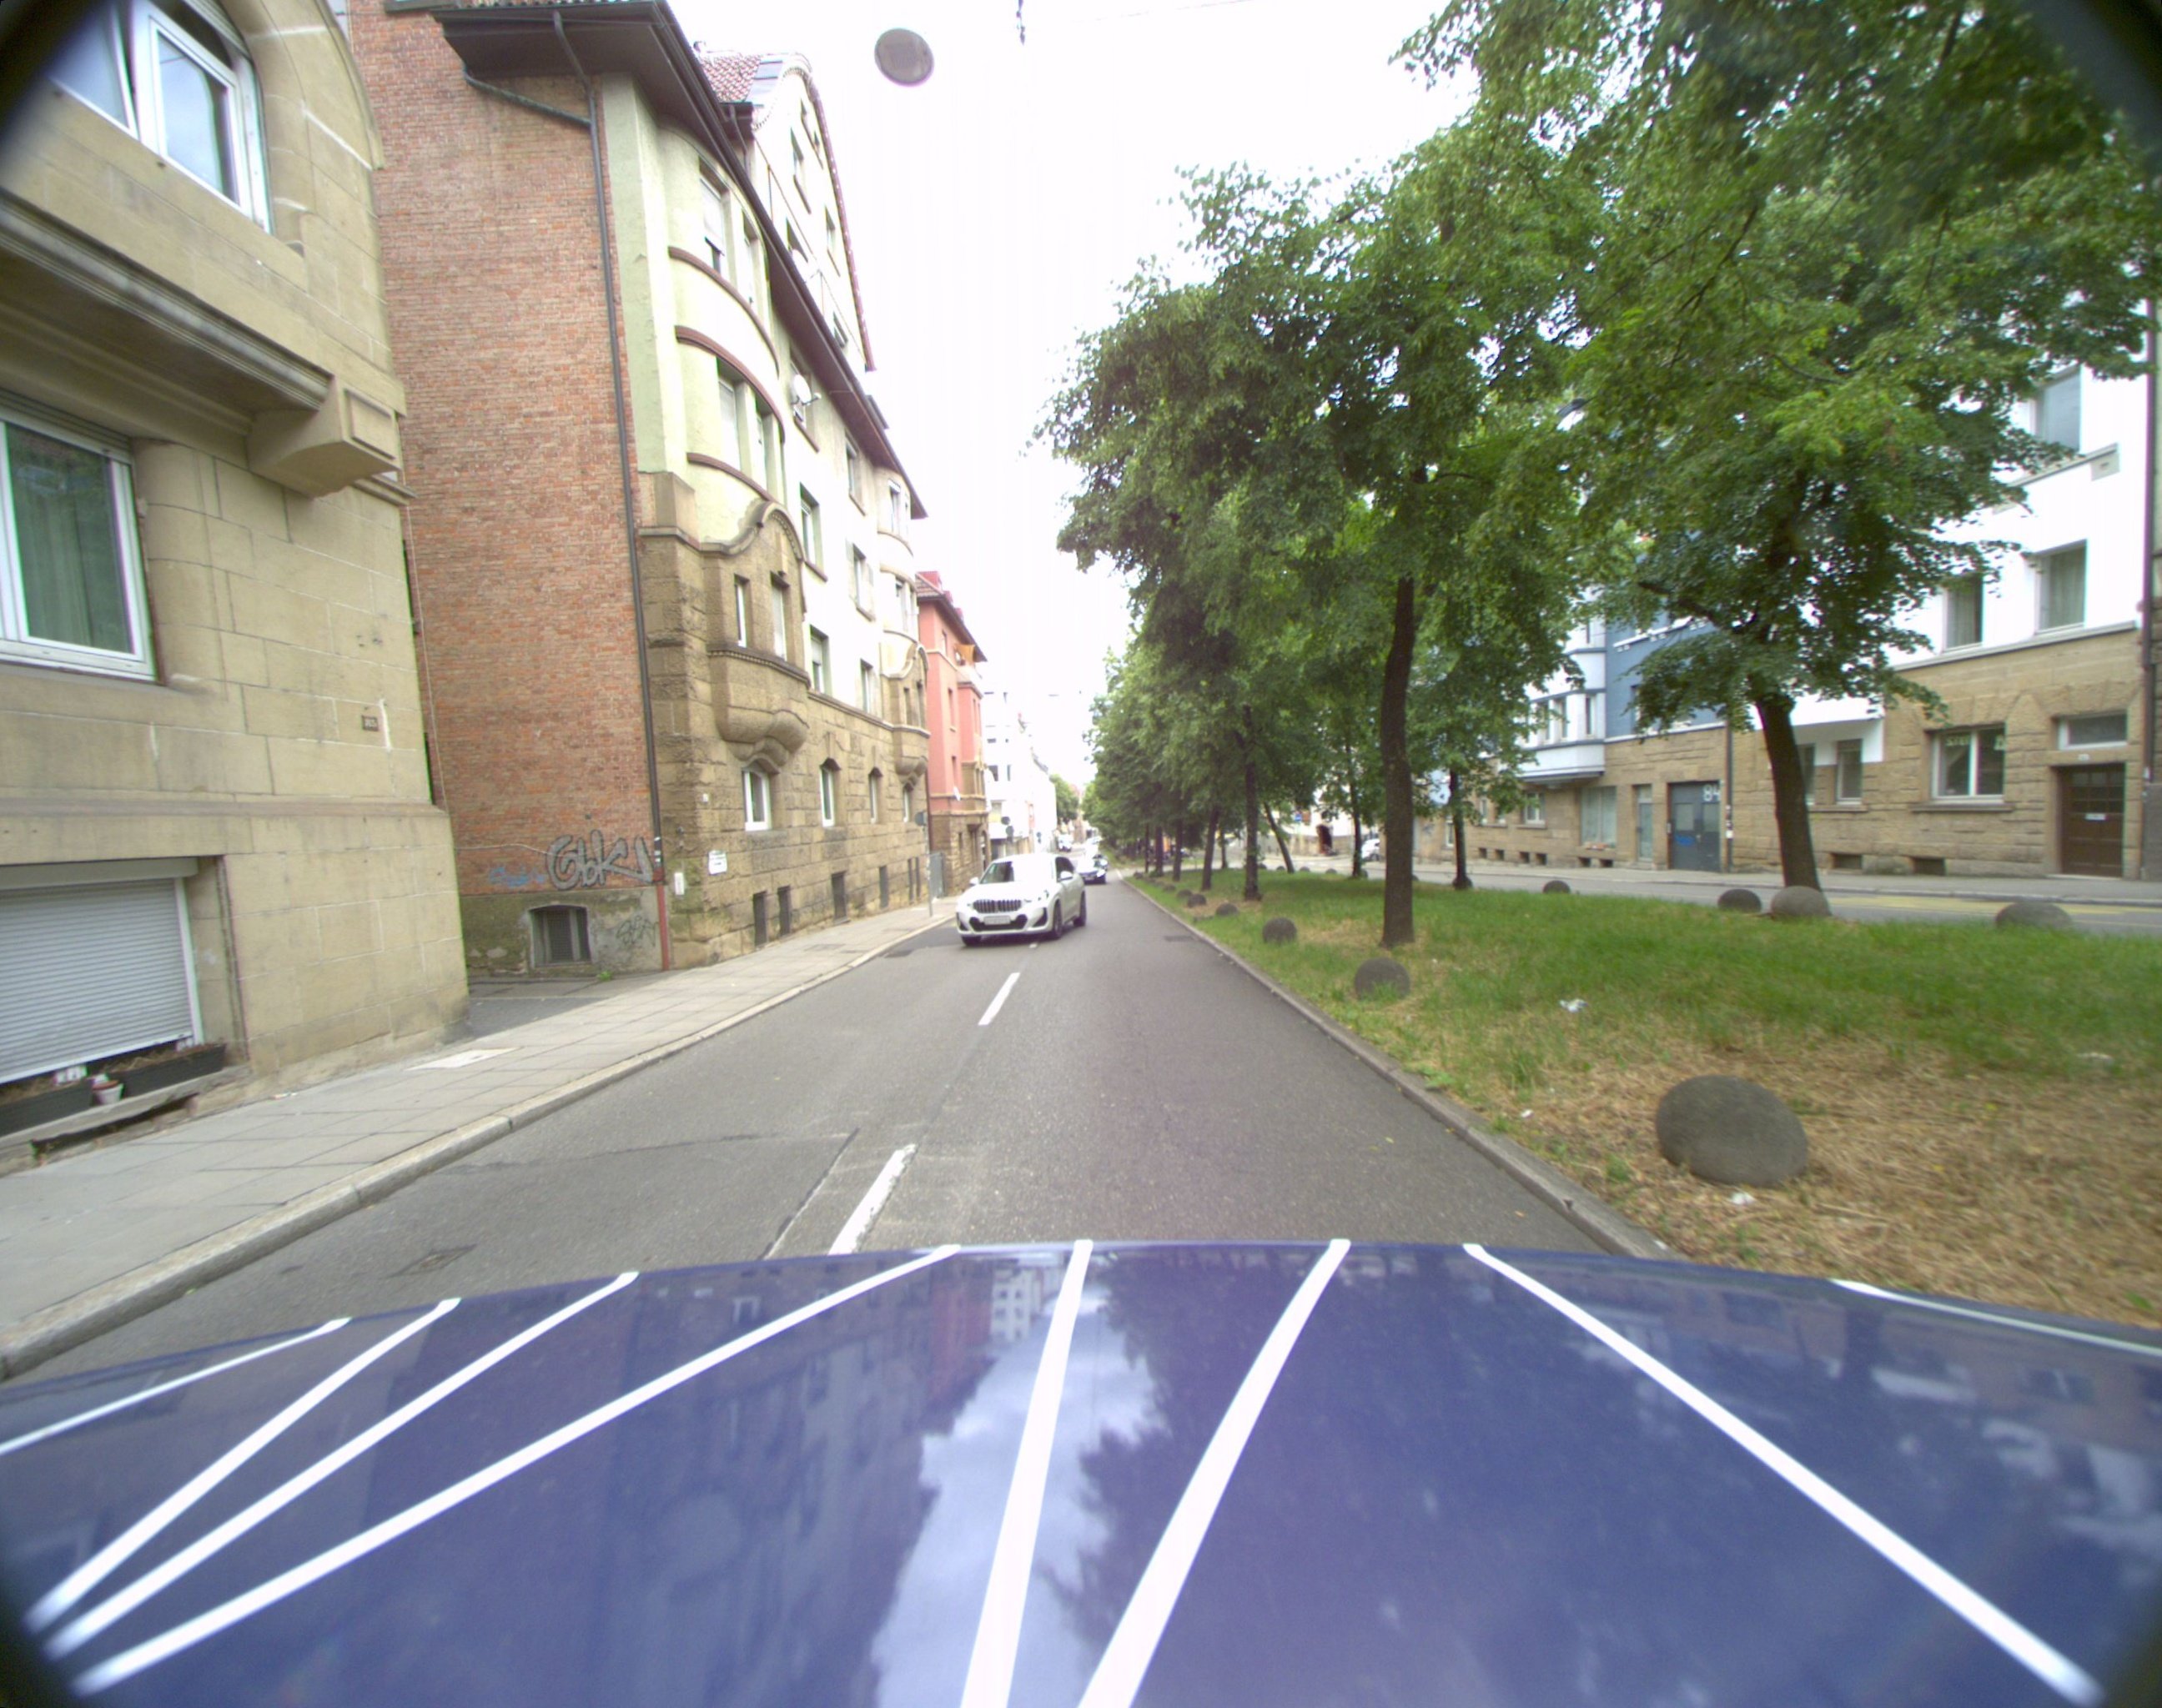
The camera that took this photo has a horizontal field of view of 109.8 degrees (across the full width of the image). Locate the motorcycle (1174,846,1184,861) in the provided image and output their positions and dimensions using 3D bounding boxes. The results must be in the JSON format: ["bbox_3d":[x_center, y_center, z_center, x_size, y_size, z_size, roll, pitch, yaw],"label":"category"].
[{"bbox_3d":[8.215,-0.063,63.658,0.750,1.068,1.851,-3,4,8],"label":"motorcycle"}]

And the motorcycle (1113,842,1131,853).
[{"bbox_3d":[4.759,-0.758,88.654,2.041,1.126,0.454,-4,4,1],"label":"motorcycle"}]

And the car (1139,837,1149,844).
[{"bbox_3d":[14.238,-2.995,171.992,1.818,1.554,4.415,-3,1,-1],"label":"car"}]

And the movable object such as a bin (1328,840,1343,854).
[{"bbox_3d":[20.380,-0.567,60.835,0.888,0.988,0.668,-5,2,0],"label":"movable object such as a bin"}]

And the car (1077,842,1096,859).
[{"bbox_3d":[0.543,-0.388,80.107,1.854,1.616,4.281,-3,0,0],"label":"car"}]

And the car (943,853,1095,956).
[{"bbox_3d":[-1.047,0.887,15.489,1.853,1.595,4.566,-4,1,10],"label":"car"}]

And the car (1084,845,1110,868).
[{"bbox_3d":[1.245,0.196,59.969,1.854,1.616,4.281,-3,0,0],"label":"car"}]

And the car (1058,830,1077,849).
[{"bbox_3d":[-2.245,-2.468,127.466,3.026,3.045,7.165,-2,3,0],"label":"car"}]

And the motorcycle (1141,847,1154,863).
[{"bbox_3d":[5.580,0.062,63.574,0.888,1.090,2.481,-3,4,8],"label":"motorcycle"}]

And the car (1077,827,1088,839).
[{"bbox_3d":[0.404,-5.732,205.579,3.026,3.045,7.165,-2,3,0],"label":"car"}]

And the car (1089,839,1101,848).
[{"bbox_3d":[2.285,-1.715,123.069,1.783,1.420,4.281,-1,0,1],"label":"car"}]

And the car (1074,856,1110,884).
[{"bbox_3d":[0.589,0.876,43.138,1.854,1.360,4.281,-3,0,0],"label":"car"}]

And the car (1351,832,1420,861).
[{"bbox_3d":[21.431,-0.546,53.541,4.007,1.462,1.870,-7,4,-1],"label":"car"}]

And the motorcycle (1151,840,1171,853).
[{"bbox_3d":[9.674,-0.884,91.947,2.424,1.475,0.963,-2,4,1],"label":"motorcycle"}]
